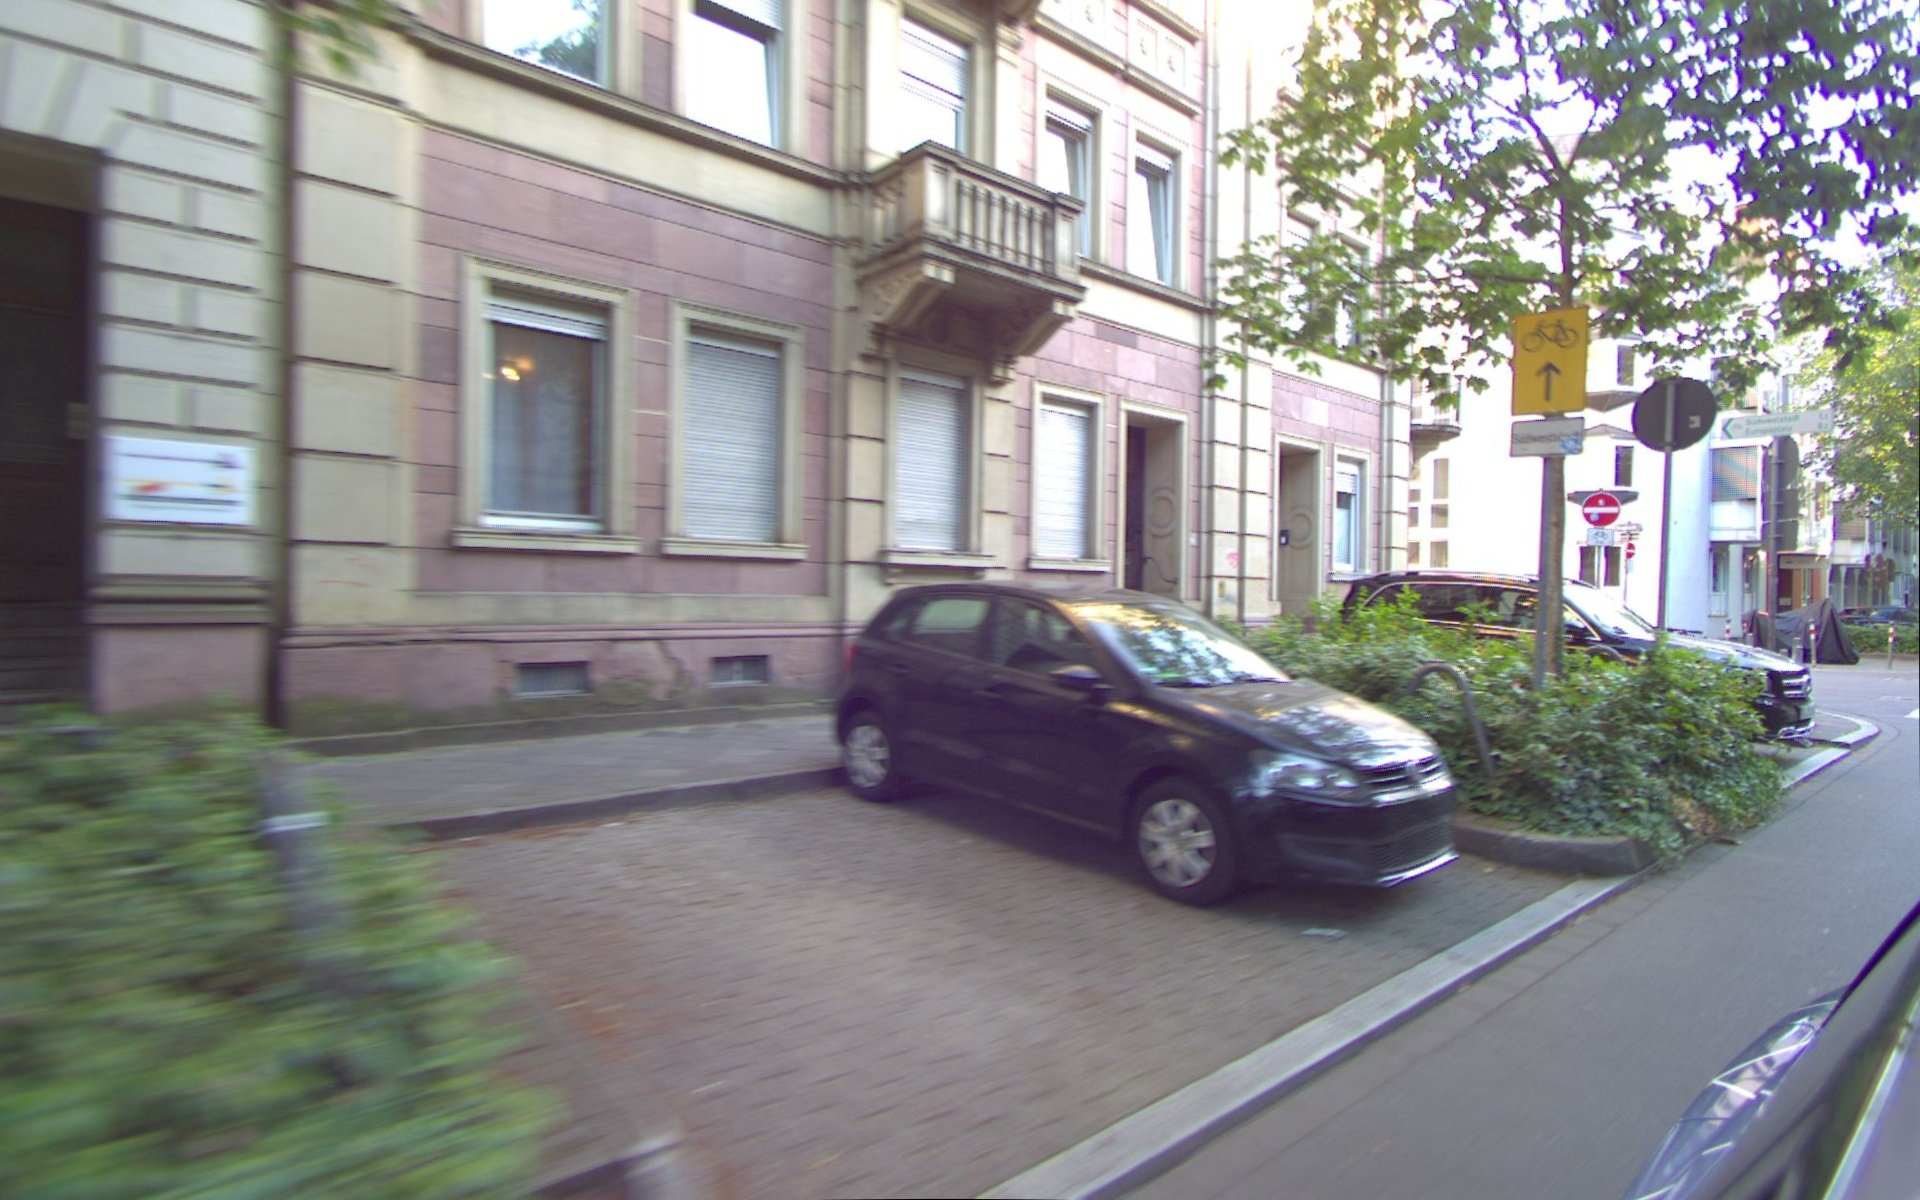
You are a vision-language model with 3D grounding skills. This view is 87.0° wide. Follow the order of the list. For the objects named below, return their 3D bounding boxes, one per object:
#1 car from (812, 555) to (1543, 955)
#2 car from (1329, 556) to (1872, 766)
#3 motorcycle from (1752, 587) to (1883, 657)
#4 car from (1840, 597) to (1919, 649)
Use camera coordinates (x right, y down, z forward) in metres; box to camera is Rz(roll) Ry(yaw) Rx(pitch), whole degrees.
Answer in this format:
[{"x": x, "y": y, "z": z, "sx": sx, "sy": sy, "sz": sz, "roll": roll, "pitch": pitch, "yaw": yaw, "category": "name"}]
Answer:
[{"x": 0.964, "y": 0.545, "z": 5.944, "sx": 1.751, "sy": 1.445, "sz": 3.873, "roll": 1, "pitch": 3, "yaw": -42, "category": "car"}, {"x": 6.417, "y": 0.442, "z": 10.718, "sx": 1.830, "sy": 1.580, "sz": 4.431, "roll": 2, "pitch": 3, "yaw": -33, "category": "car"}, {"x": 20.046, "y": 0.495, "z": 23.730, "sx": 2.231, "sy": 1.565, "sz": 0.764, "roll": -1, "pitch": 0, "yaw": 35, "category": "motorcycle"}, {"x": 32.025, "y": 0.744, "z": 33.503, "sx": 1.562, "sy": 1.697, "sz": 4.162, "roll": 1, "pitch": -2, "yaw": -40, "category": "car"}]
